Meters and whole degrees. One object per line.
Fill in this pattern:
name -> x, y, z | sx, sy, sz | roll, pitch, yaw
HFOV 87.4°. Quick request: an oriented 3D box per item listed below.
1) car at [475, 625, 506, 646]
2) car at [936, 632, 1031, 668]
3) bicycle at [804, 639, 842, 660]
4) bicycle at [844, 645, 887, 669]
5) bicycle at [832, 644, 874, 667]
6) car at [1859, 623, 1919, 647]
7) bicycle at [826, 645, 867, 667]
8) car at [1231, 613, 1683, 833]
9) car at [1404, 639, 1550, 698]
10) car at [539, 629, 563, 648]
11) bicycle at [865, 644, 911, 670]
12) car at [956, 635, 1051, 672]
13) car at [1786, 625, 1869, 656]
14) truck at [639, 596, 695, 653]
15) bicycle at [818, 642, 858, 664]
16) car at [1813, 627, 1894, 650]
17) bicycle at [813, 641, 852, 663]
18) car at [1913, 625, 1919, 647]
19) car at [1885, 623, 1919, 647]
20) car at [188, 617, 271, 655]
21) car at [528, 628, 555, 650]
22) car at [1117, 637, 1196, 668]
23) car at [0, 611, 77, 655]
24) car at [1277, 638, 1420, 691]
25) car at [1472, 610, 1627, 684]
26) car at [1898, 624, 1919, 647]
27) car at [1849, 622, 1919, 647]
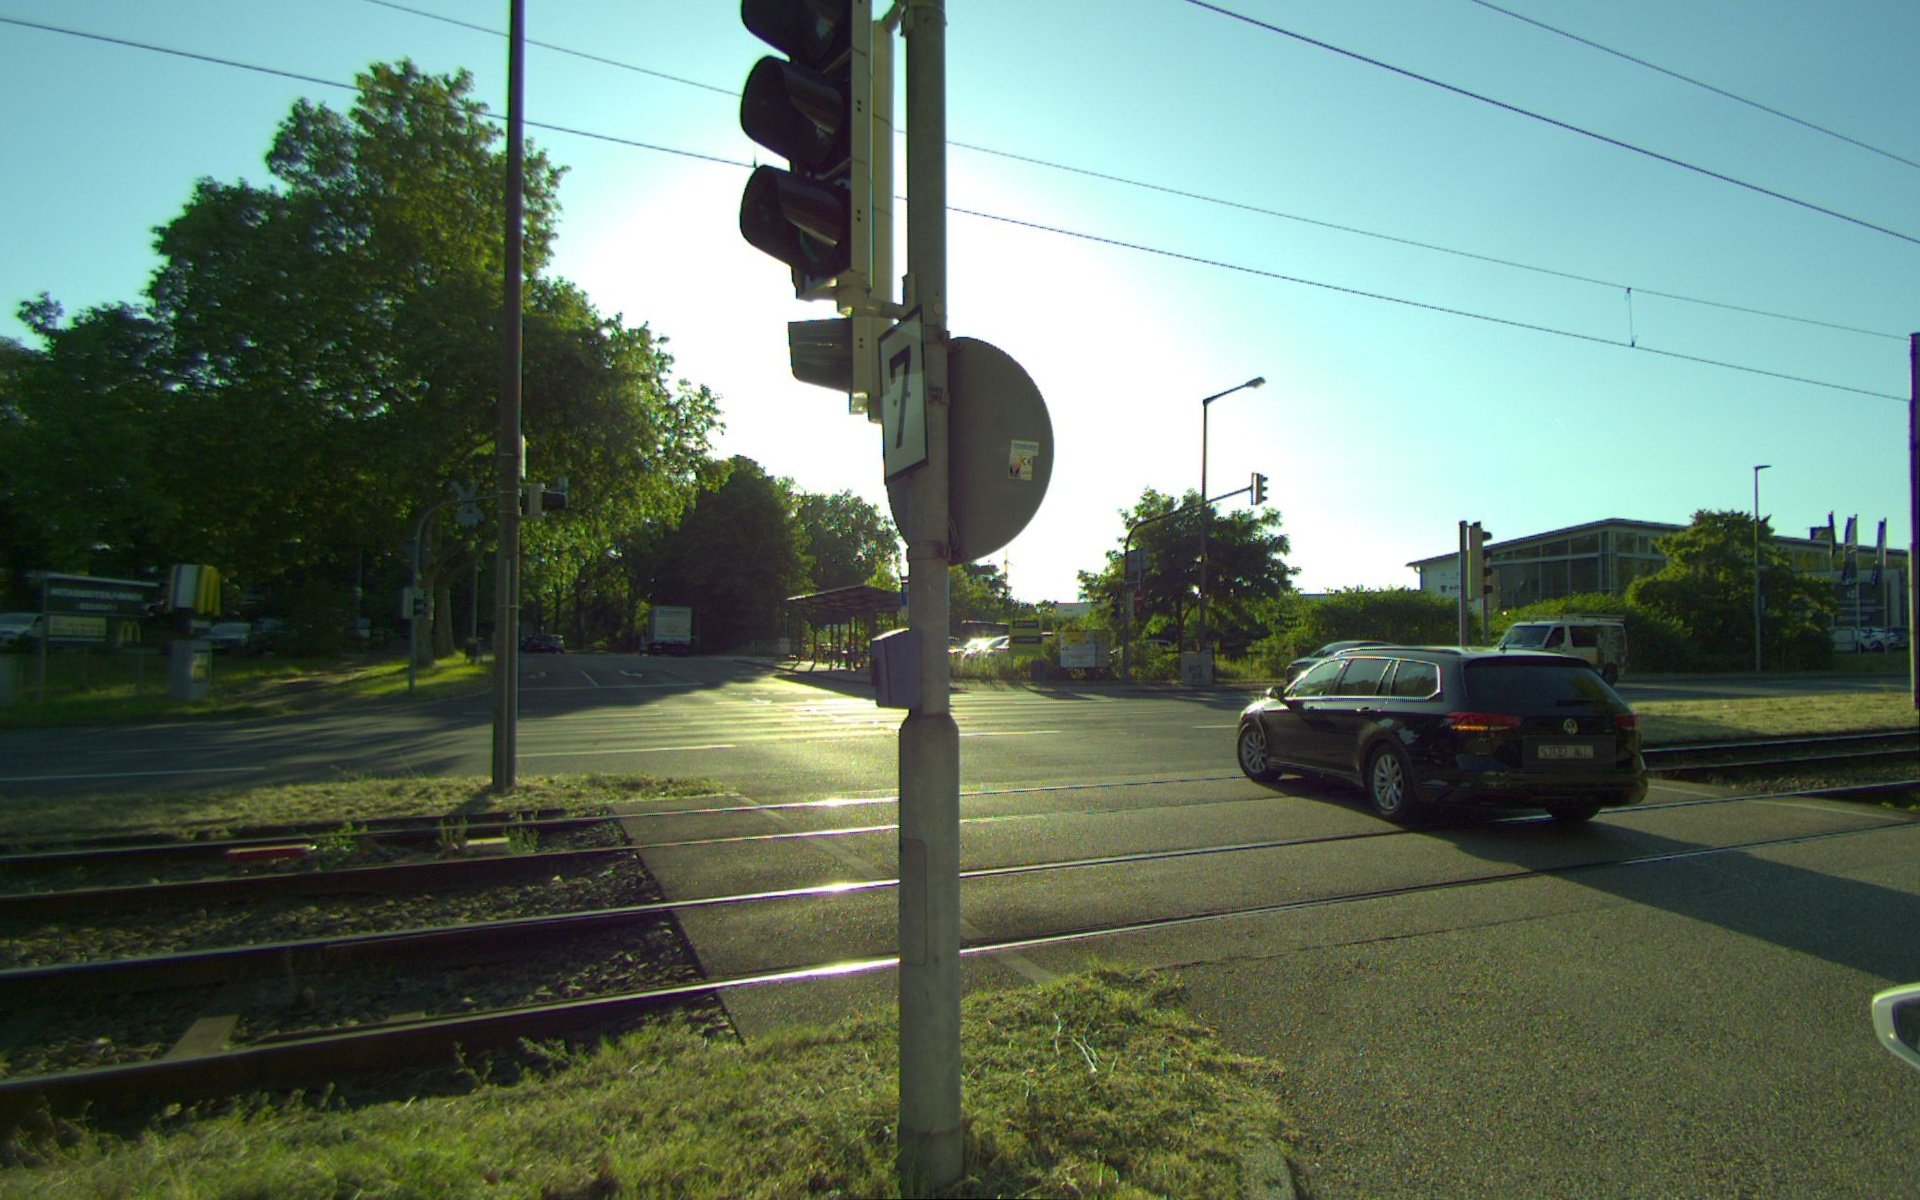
car -> -35.279, 2.656, 75.585 | 1.825, 1.572, 3.979 | 2, -2, -22
car -> 1.169, 2.502, 50.308 | 4.262, 1.670, 2.107 | 2, -2, -26
bicycle -> -7.098, 2.578, 52.060 | 1.864, 1.052, 0.542 | 1, -2, -20
bicycle -> -4.220, 2.551, 44.959 | 1.867, 1.052, 0.541 | 1, -2, -23
bicycle -> -5.010, 2.617, 47.095 | 1.867, 1.052, 0.541 | 1, -2, -23
car -> 62.659, 2.328, 67.062 | 1.747, 1.587, 3.752 | 2, -2, -42
bicycle -> -5.406, 2.677, 47.924 | 1.867, 1.052, 0.541 | 1, -2, -23
car -> 4.215, 0.959, 9.429 | 1.796, 1.576, 4.255 | 1, -2, -6
car -> 15.496, 2.019, 30.107 | 3.946, 1.639, 1.865 | 2, -2, -25
car -> -35.324, 3.282, 86.728 | 1.825, 1.572, 3.979 | 2, -2, -22
bicycle -> -3.040, 2.396, 42.310 | 1.867, 1.052, 0.541 | 1, -2, -23
car -> 2.058, 2.504, 47.378 | 3.946, 1.670, 2.107 | 2, -2, -25
car -> 54.043, 2.504, 62.616 | 1.747, 1.884, 3.752 | 2, -2, -42
truck -> -22.231, 1.842, 75.732 | 3.147, 3.927, 11.047 | 2, -2, -21
bicycle -> -5.988, 2.615, 49.321 | 1.864, 1.052, 0.542 | 1, -2, -20
car -> 56.937, 2.427, 64.043 | 1.747, 1.406, 3.752 | 2, -2, -42
bicycle -> -6.445, 2.621, 50.662 | 1.864, 1.052, 0.542 | 1, -2, -20
car -> 70.360, 2.594, 71.394 | 1.747, 1.587, 3.752 | 2, -2, -42
car -> 65.590, 2.418, 68.340 | 1.747, 1.587, 3.752 | 2, -2, -42
car -> -32.547, 1.595, 44.904 | 2.015, 1.594, 4.378 | 1, -2, -23
car -> -31.382, 2.938, 75.380 | 1.825, 1.572, 3.979 | 2, -2, -22
car -> 11.342, 3.029, 58.032 | 3.933, 1.658, 2.114 | 1, -2, -15
car -> -39.273, 1.336, 41.794 | 1.969, 1.729, 4.880 | 1, -2, -18
car -> 12.849, 2.106, 33.190 | 4.486, 1.639, 1.865 | 2, -2, -25
car -> 21.924, 1.755, 37.331 | 5.794, 2.600, 1.998 | 2, -2, -24
car -> 67.953, 2.507, 69.910 | 1.747, 1.587, 3.752 | 2, -2, -42
car -> 60.744, 2.253, 65.694 | 1.747, 1.587, 3.752 | 2, -2, -42
